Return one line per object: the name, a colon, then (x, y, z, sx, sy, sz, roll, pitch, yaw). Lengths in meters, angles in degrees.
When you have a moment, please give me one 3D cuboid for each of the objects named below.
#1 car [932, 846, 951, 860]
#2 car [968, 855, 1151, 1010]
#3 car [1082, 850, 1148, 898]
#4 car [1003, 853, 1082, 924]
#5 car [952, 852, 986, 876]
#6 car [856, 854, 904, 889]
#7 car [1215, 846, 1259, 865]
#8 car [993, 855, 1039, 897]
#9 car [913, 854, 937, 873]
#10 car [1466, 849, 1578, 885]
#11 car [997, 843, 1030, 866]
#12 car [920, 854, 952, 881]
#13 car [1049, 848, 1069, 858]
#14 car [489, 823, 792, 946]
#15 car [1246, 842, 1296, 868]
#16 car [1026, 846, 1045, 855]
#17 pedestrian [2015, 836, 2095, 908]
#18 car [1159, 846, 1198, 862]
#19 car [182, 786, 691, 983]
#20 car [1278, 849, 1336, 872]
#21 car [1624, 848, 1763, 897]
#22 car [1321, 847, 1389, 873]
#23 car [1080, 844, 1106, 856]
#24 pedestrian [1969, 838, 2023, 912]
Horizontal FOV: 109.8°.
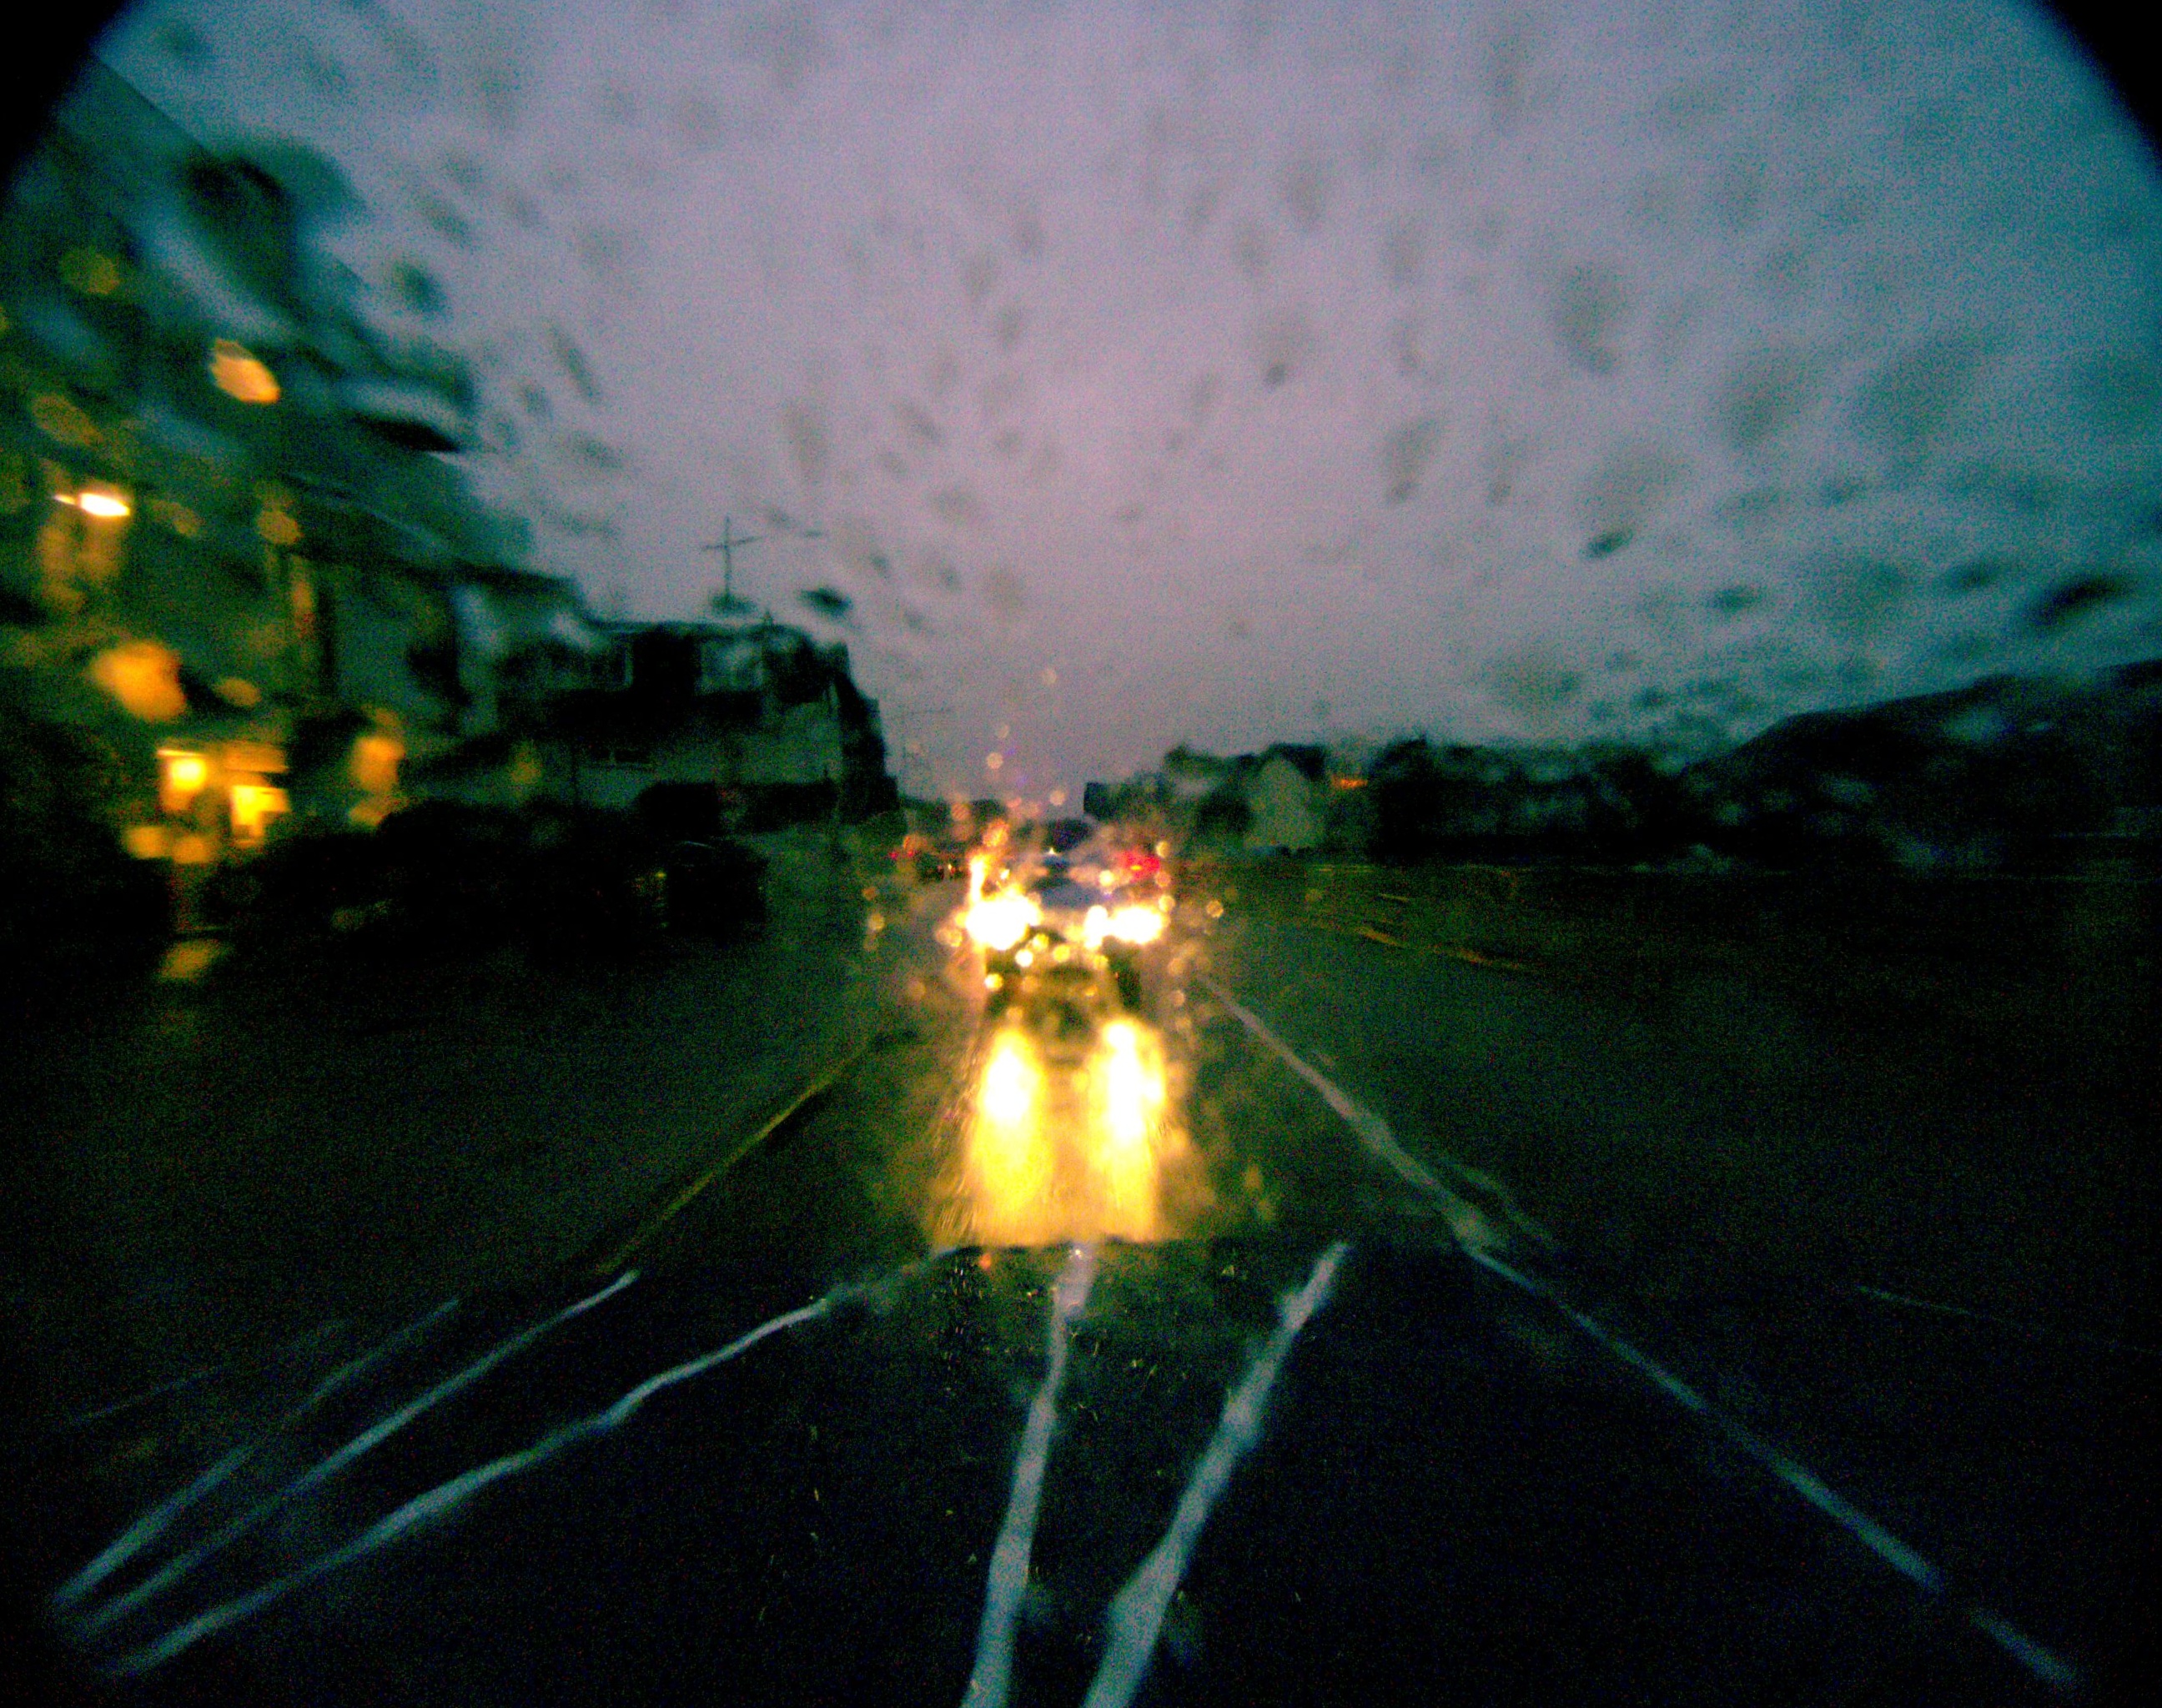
car: (-20.128, -0.167, 109.604, 2.002, 2.002, 3.993, -2, 1, -20)
car: (-0.320, 0.853, 10.091, 1.888, 1.569, 3.999, -2, 0, -3)
car: (1.199, 0.706, 28.619, 1.784, 1.612, 3.954, -1, 0, -8)
car: (-1.097, 0.822, 19.808, 1.682, 1.614, 3.998, -1, 0, -8)
car: (-7.644, 0.652, 51.435, 1.743, 1.434, 3.994, -2, 1, -15)
car: (-9.158, 0.767, 34.871, 1.778, 1.488, 3.775, 1, 0, -10)
car: (12.459, 0.124, 61.083, 1.677, 1.460, 4.011, 1, 0, -18)
car: (-2.614, 0.809, 29.893, 1.572, 1.460, 3.614, -3, 0, -8)
car: (-11.113, 0.679, 53.980, 1.499, 1.283, 3.287, -1, 0, -15)
car: (19.180, 0.506, 33.306, 1.801, 1.460, 4.251, -1, 1, -14)
car: (-6.277, 0.072, 70.507, 2.002, 2.002, 3.993, -2, 1, -20)
car: (-9.086, 0.802, 47.765, 1.849, 1.577, 3.765, -1, 0, -10)
car: (-3.130, -0.165, 107.122, 1.801, 1.460, 4.250, -1, 1, -18)
car: (-7.588, 0.539, 13.510, 4.153, 1.625, 1.753, 6, -1, -10)
car: (13.836, 0.049, 55.582, 1.801, 1.816, 4.251, -1, 1, -14)
car: (-7.088, -0.529, 118.397, 1.801, 1.460, 4.250, -1, 1, -19)
pedestrian: (17.341, 0.312, 13.538, 0.693, 1.242, 0.602, -1, 1, -5)
car: (9.278, 0.021, 72.674, 1.801, 1.460, 4.608, -1, 1, -18)
car: (-7.847, 0.382, 9.719, 4.553, 1.922, 1.974, 5, 0, -5)
car: (15.074, 0.390, 50.823, 1.801, 1.460, 4.251, -1, 1, -14)
car: (20.330, 0.575, 25.399, 1.479, 1.500, 3.500, -1, 1, -11)
car: (16.325, 0.334, 45.485, 1.801, 1.460, 4.251, -1, 1, -14)
car: (1.453, -0.459, 93.914, 1.801, 1.460, 4.250, -1, 1, -18)
pedestrian: (16.511, 0.367, 13.707, 0.512, 1.294, 0.601, -2, 1, -38)
